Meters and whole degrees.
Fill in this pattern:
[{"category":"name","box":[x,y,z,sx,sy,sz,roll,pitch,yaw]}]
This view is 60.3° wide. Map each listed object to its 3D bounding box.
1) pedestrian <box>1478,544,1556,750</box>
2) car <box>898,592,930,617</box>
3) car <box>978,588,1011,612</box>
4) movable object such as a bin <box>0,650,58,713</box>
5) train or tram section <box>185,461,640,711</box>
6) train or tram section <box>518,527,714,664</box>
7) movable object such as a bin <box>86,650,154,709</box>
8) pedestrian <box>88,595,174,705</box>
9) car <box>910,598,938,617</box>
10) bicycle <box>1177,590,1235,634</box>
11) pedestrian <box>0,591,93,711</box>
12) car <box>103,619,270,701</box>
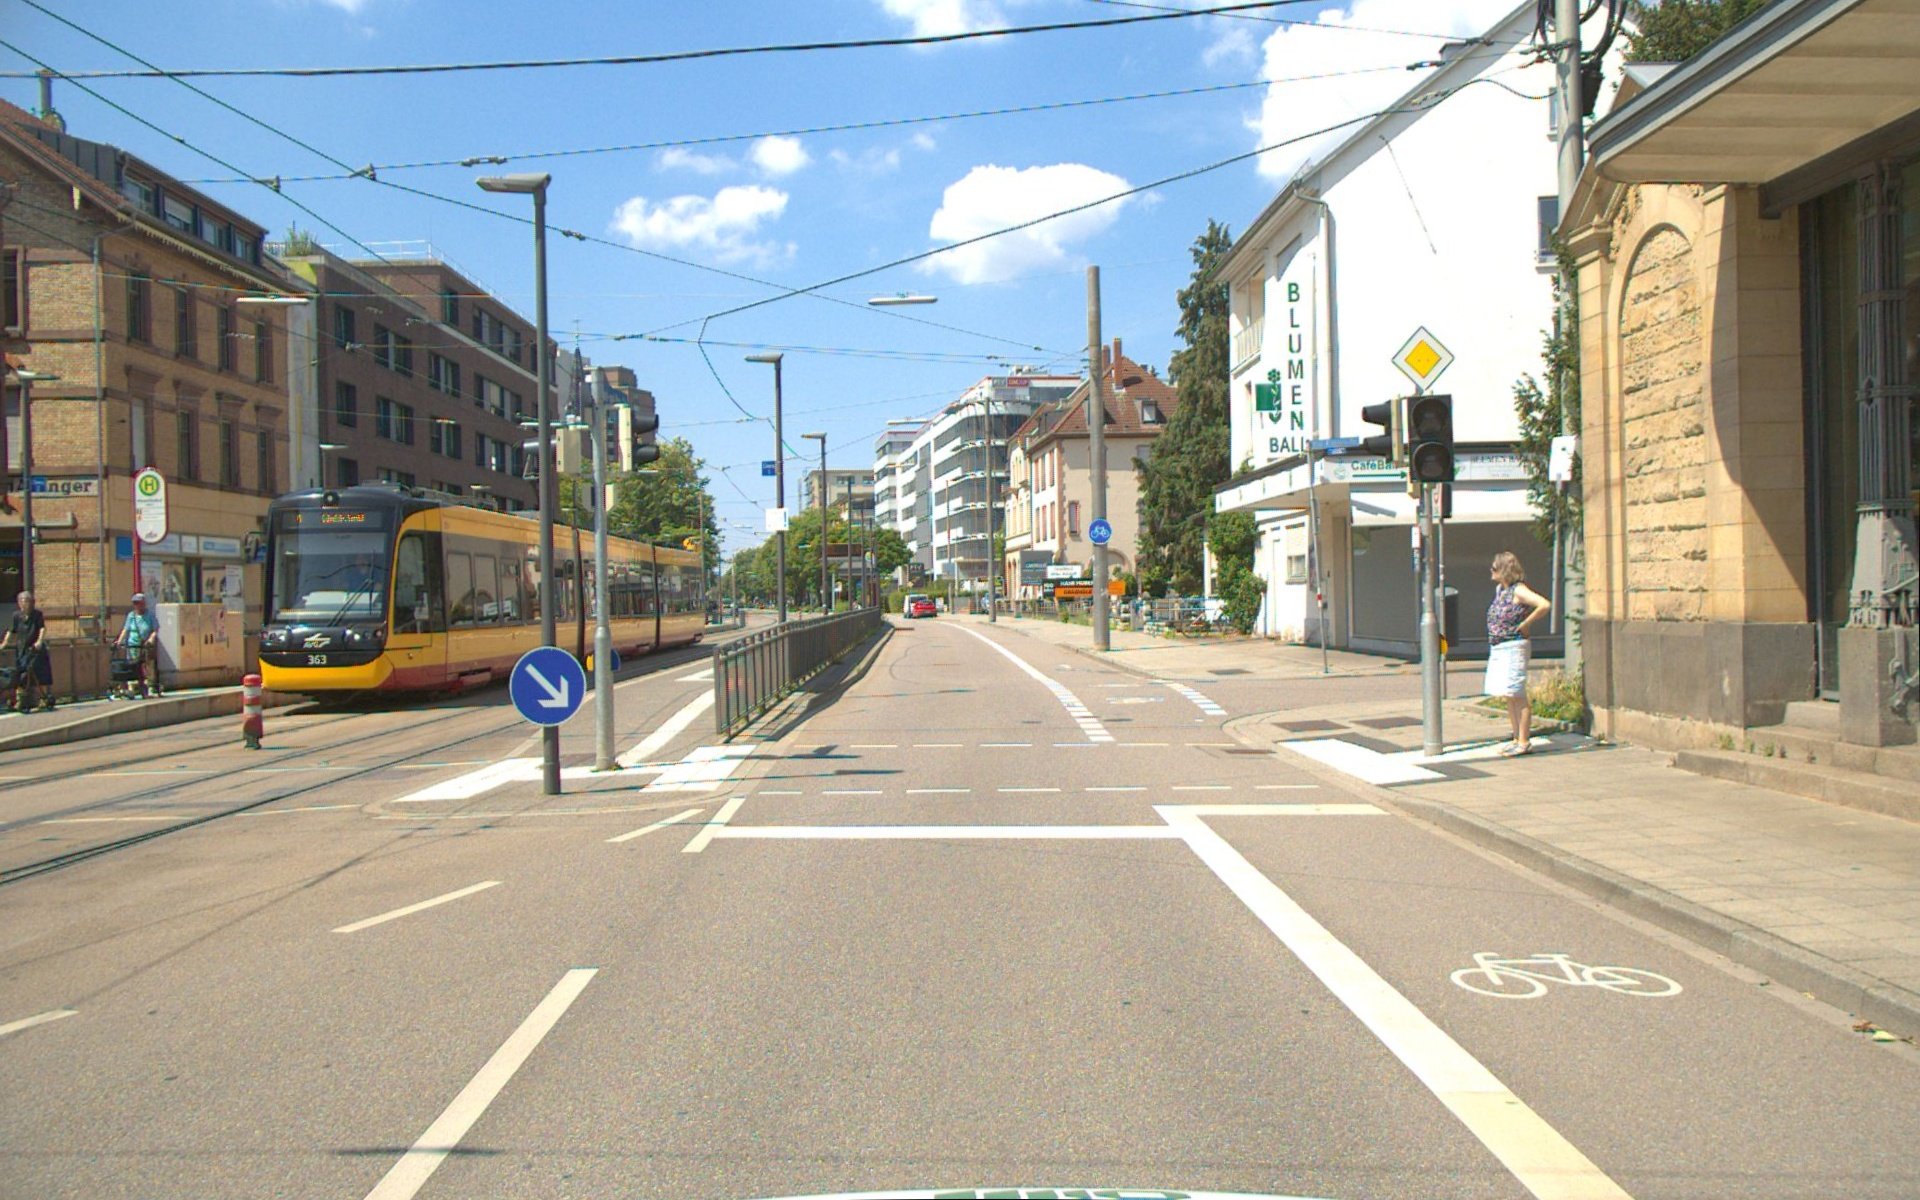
[{"category":"pedestrian","box":[4.739,0.391,14.053,0.551,1.695,0.681,-2,0,21]},{"category":"car","box":[-3.987,0.386,142.947,1.957,2.026,5.503,-3,0,-9]},{"category":"car","box":[2.636,0.019,126.633,1.842,1.652,4.633,-4,0,-6]},{"category":"movable object such as a bin","box":[-12.531,1.083,22.075,0.661,0.794,0.538,-2,0,-3]},{"category":"train or tram section","box":[-10.146,-0.172,34.936,3.185,3.629,20.494,-2,0,-1]},{"category":"train or tram section","box":[-10.582,-0.099,53.220,3.170,3.629,16.344,-2,0,-1]},{"category":"movable object such as a bin","box":[-12.215,1.150,24.071,0.661,0.794,0.619,-2,0,-3]},{"category":"pedestrian","box":[-12.292,0.727,24.543,0.769,1.587,0.920,-2,0,-2]},{"category":"car","box":[-2.978,0.621,136.323,1.956,1.467,4.010,-1,0,-7]},{"category":"bicycle","box":[6.843,0.330,46.041,1.500,1.105,0.430,-3,0,4]},{"category":"pedestrian","box":[-12.574,0.685,22.761,0.769,1.587,0.920,-2,0,-2]},{"category":"car","box":[-16.186,1.212,34.800,1.617,1.482,3.789,-3,0,1]}]
